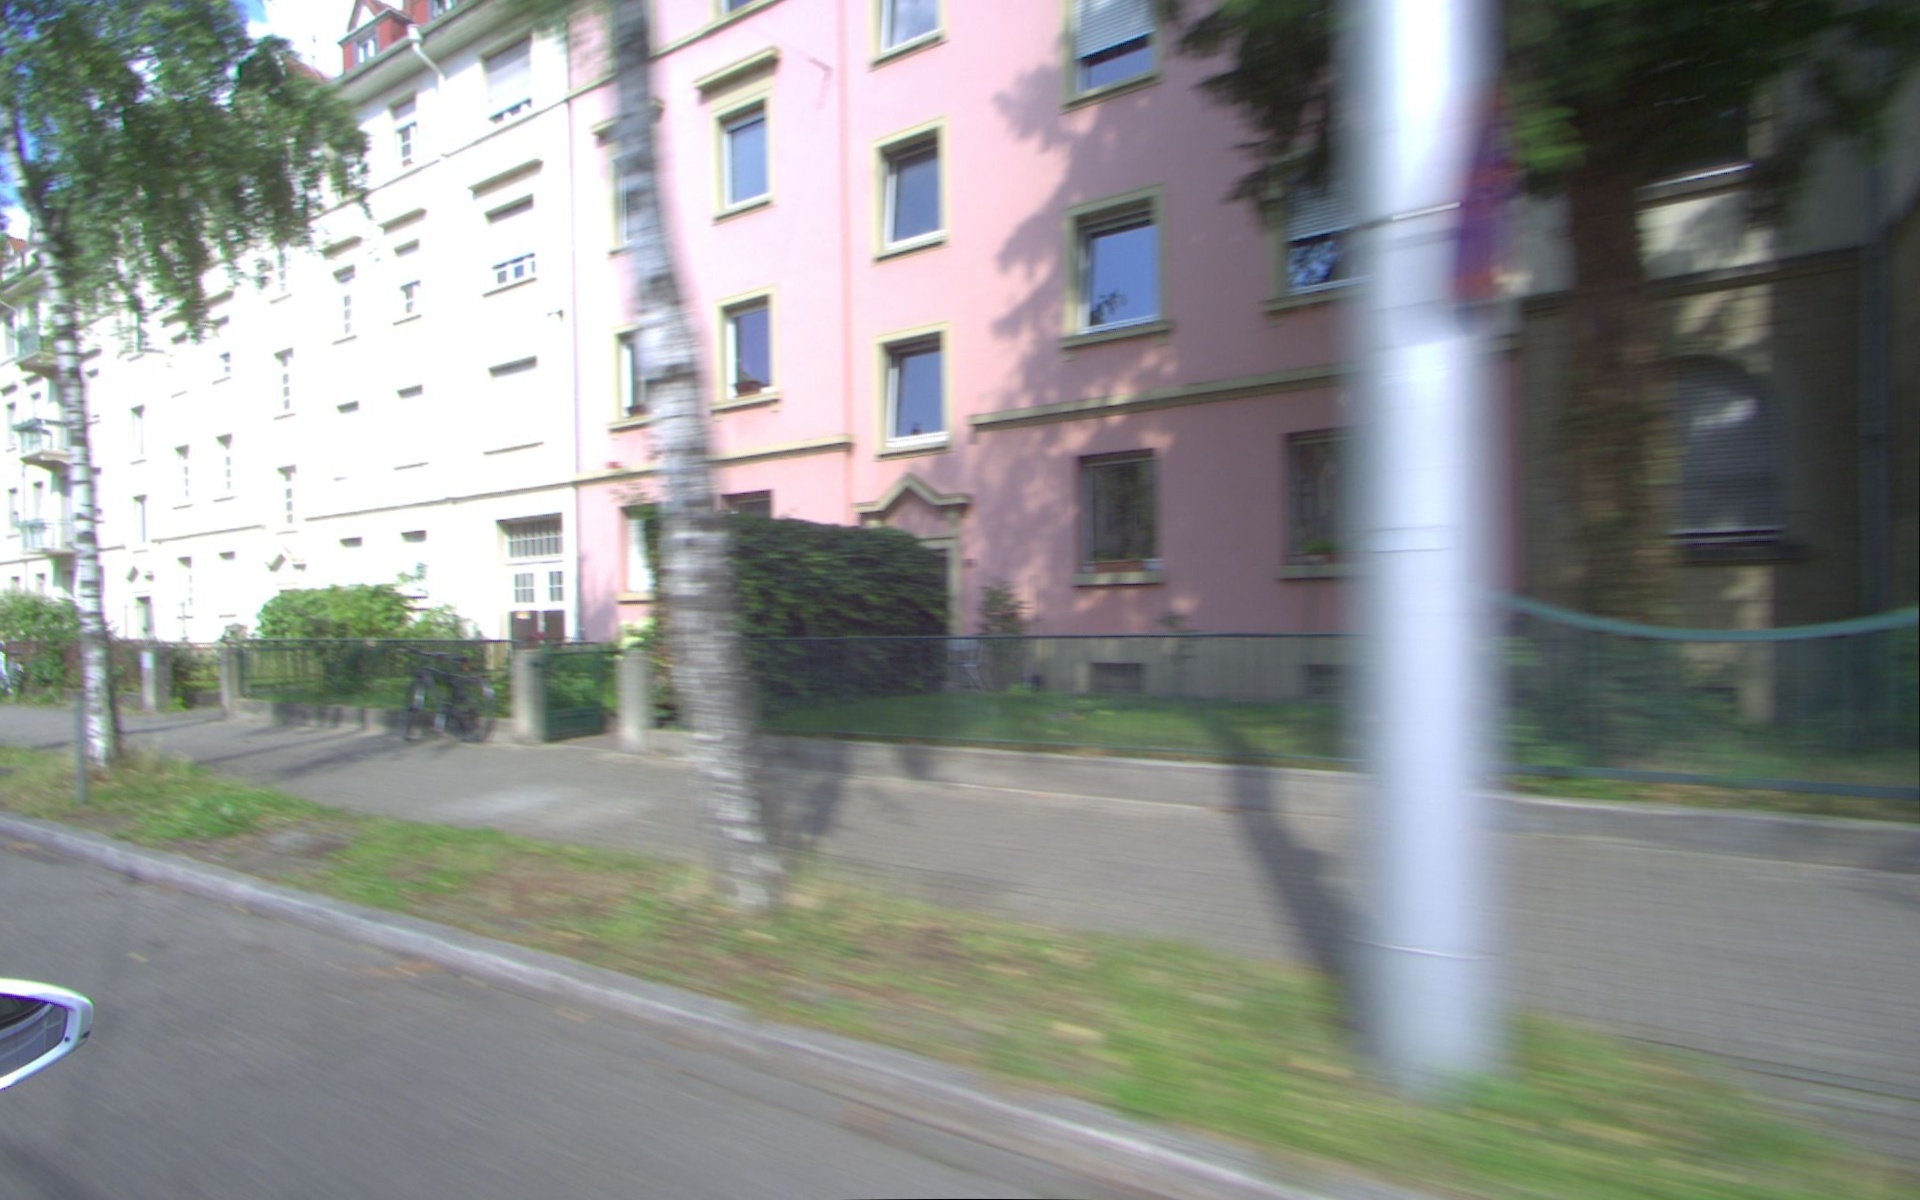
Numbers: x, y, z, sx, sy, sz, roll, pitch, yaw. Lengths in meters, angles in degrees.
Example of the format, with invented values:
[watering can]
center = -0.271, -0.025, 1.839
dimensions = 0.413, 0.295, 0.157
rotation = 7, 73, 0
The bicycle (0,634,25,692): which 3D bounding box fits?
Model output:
[bicycle]
center = -19.233, 1.241, 19.910
dimensions = 2.153, 1.091, 0.470
rotation = -1, 0, 35
